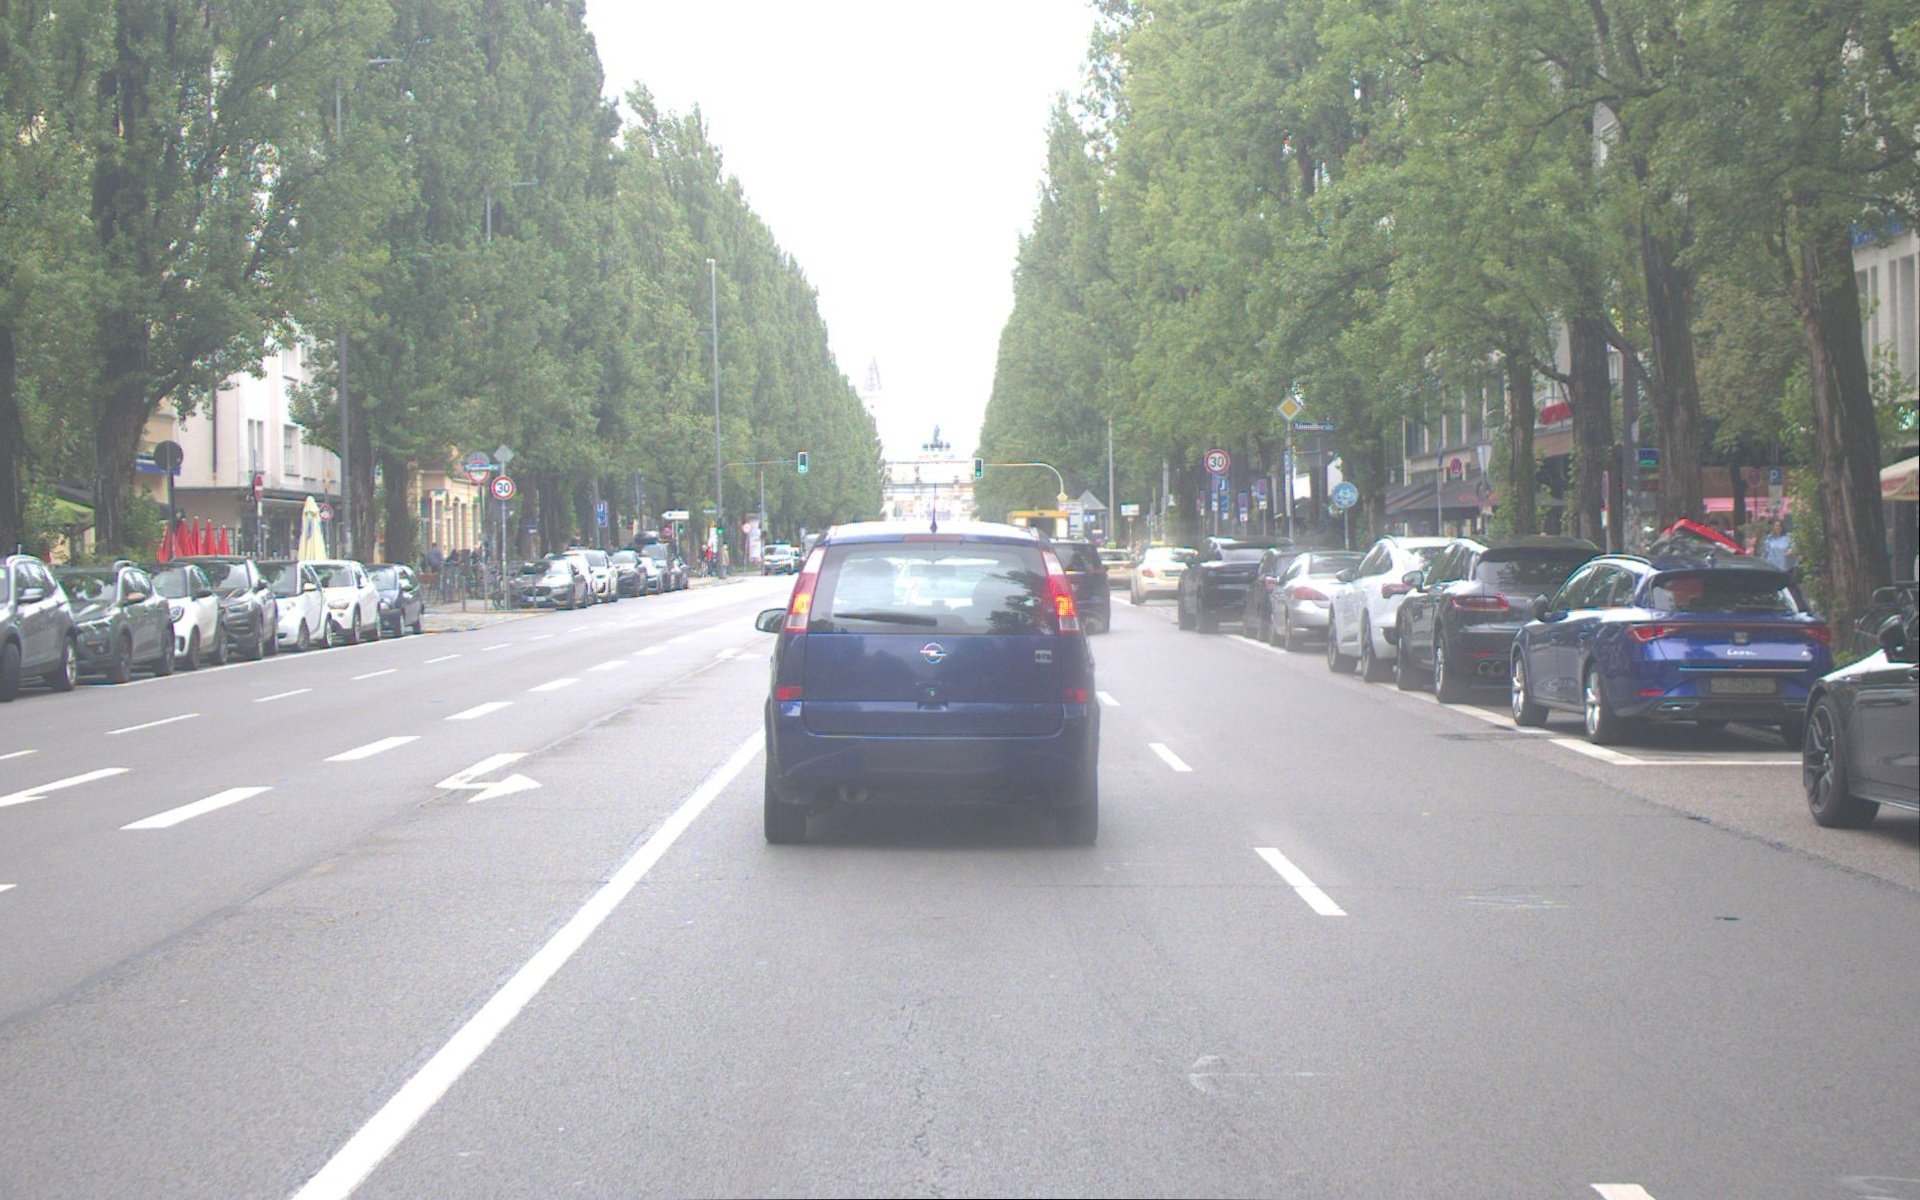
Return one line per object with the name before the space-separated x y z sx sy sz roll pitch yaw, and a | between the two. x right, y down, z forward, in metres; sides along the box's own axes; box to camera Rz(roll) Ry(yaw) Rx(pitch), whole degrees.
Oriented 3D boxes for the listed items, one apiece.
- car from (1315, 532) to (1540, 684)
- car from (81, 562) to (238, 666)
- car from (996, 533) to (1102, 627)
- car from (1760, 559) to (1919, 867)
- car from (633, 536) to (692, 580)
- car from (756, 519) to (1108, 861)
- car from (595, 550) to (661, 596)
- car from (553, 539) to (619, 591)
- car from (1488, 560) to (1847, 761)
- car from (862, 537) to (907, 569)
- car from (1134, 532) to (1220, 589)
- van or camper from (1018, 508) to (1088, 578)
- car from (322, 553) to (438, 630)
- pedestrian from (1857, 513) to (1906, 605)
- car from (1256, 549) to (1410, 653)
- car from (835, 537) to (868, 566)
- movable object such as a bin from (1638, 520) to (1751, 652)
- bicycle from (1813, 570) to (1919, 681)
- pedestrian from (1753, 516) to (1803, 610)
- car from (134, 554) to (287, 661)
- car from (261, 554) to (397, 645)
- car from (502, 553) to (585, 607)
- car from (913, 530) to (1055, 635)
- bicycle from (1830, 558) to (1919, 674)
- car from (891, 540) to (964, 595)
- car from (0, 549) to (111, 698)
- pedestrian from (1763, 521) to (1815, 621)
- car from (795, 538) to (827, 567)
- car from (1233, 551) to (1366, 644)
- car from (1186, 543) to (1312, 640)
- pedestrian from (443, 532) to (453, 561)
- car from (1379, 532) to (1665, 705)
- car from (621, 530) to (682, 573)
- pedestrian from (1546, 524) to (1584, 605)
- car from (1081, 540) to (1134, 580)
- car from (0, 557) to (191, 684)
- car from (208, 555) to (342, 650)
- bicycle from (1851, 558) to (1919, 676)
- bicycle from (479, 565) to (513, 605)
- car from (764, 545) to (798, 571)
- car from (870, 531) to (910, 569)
car | 5.267 0.051 39.280 1.827 1.615 4.748 0 1 -1
car | -11.580 0.177 49.883 1.631 1.423 2.983 -1 1 -1
car | 1.528 -0.381 60.153 1.706 1.568 4.000 -1 1 0
car | 5.451 0.526 16.696 1.878 1.427 4.805 -1 1 -1
car | -11.596 -1.635 134.369 1.993 1.656 4.000 -1 1 -1
car | -0.175 0.393 18.453 1.681 1.635 4.000 0 1 -1
car | -11.389 -0.951 118.175 1.961 1.525 4.000 -1 1 -2
car | -11.475 -1.087 105.675 1.654 1.556 3.458 -1 1 0
car | 5.455 0.408 27.056 1.749 1.400 4.465 -1 1 -2
car | -3.395 -2.132 154.583 1.961 1.394 3.779 -1 1 -1
car | 5.440 -1.004 86.448 1.897 1.358 3.900 -1 1 0
van or camper | 3.552 -2.185 131.843 2.477 2.572 5.844 -1 1 0
car | -11.328 -0.187 67.336 1.586 1.442 3.390 -1 1 2
pedestrian | 16.370 -0.731 61.082 0.653 1.621 0.704 -1 1 -3
car | 5.315 -0.015 49.367 1.670 1.401 4.128 1 1 -1
car | -6.443 -2.858 204.062 1.835 1.671 3.779 -1 1 -1
movable object such as a bin | 9.697 -0.191 45.434 1.032 1.697 1.587 -1 1 -4
bicycle | 9.919 0.258 36.138 1.829 1.135 0.371 -1 1 -6
pedestrian | 15.503 -0.702 65.201 0.727 1.745 0.860 1 0 0
car | -11.669 0.085 53.744 1.840 1.560 4.180 -1 1 -6
car | -11.384 -0.036 62.246 1.835 1.541 4.087 -1 1 -2
car | -11.436 -0.575 94.660 1.830 1.415 3.811 -1 1 0
car | 0.323 -0.288 51.553 1.993 1.492 4.000 -1 1 -1
bicycle | 9.937 0.156 35.681 1.710 1.188 0.420 -1 1 -5
car | -0.938 -0.921 96.503 1.993 1.492 4.000 -1 1 -1
car | -11.463 0.269 40.378 1.864 1.649 4.616 -3 1 -1
pedestrian | 13.721 -0.484 56.915 0.653 1.621 0.704 -1 1 -3
car | -9.025 -2.899 208.391 1.835 1.733 3.779 -1 1 -1
car | 5.371 -0.063 54.789 1.681 1.410 3.583 1 1 -1
car | 4.947 -0.183 59.380 1.797 1.588 4.104 1 1 0
pedestrian | -19.031 -1.983 127.853 0.289 1.086 0.258 -1 1 5
car | 5.454 0.136 33.926 1.993 1.560 4.484 -1 1 -1
car | -11.431 -1.811 127.743 1.961 1.543 3.779 -1 1 -1
pedestrian | 13.073 -0.770 74.352 0.653 1.745 0.860 1 0 0
car | 5.202 -1.425 121.214 1.669 1.348 4.104 -1 1 0
car | -11.382 0.234 45.178 1.697 1.545 4.083 -1 1 -1
car | -11.570 0.025 58.188 1.573 1.528 2.922 -1 1 2
bicycle | 10.136 0.163 35.181 1.869 1.188 0.576 -1 1 -5
bicycle | -12.026 -0.386 89.119 0.665 1.002 2.462 -1 1 -4
car | -11.183 -2.617 214.577 1.961 1.543 3.779 -1 1 -1
car | -3.281 -2.345 161.722 1.835 1.755 3.779 -1 1 -1
